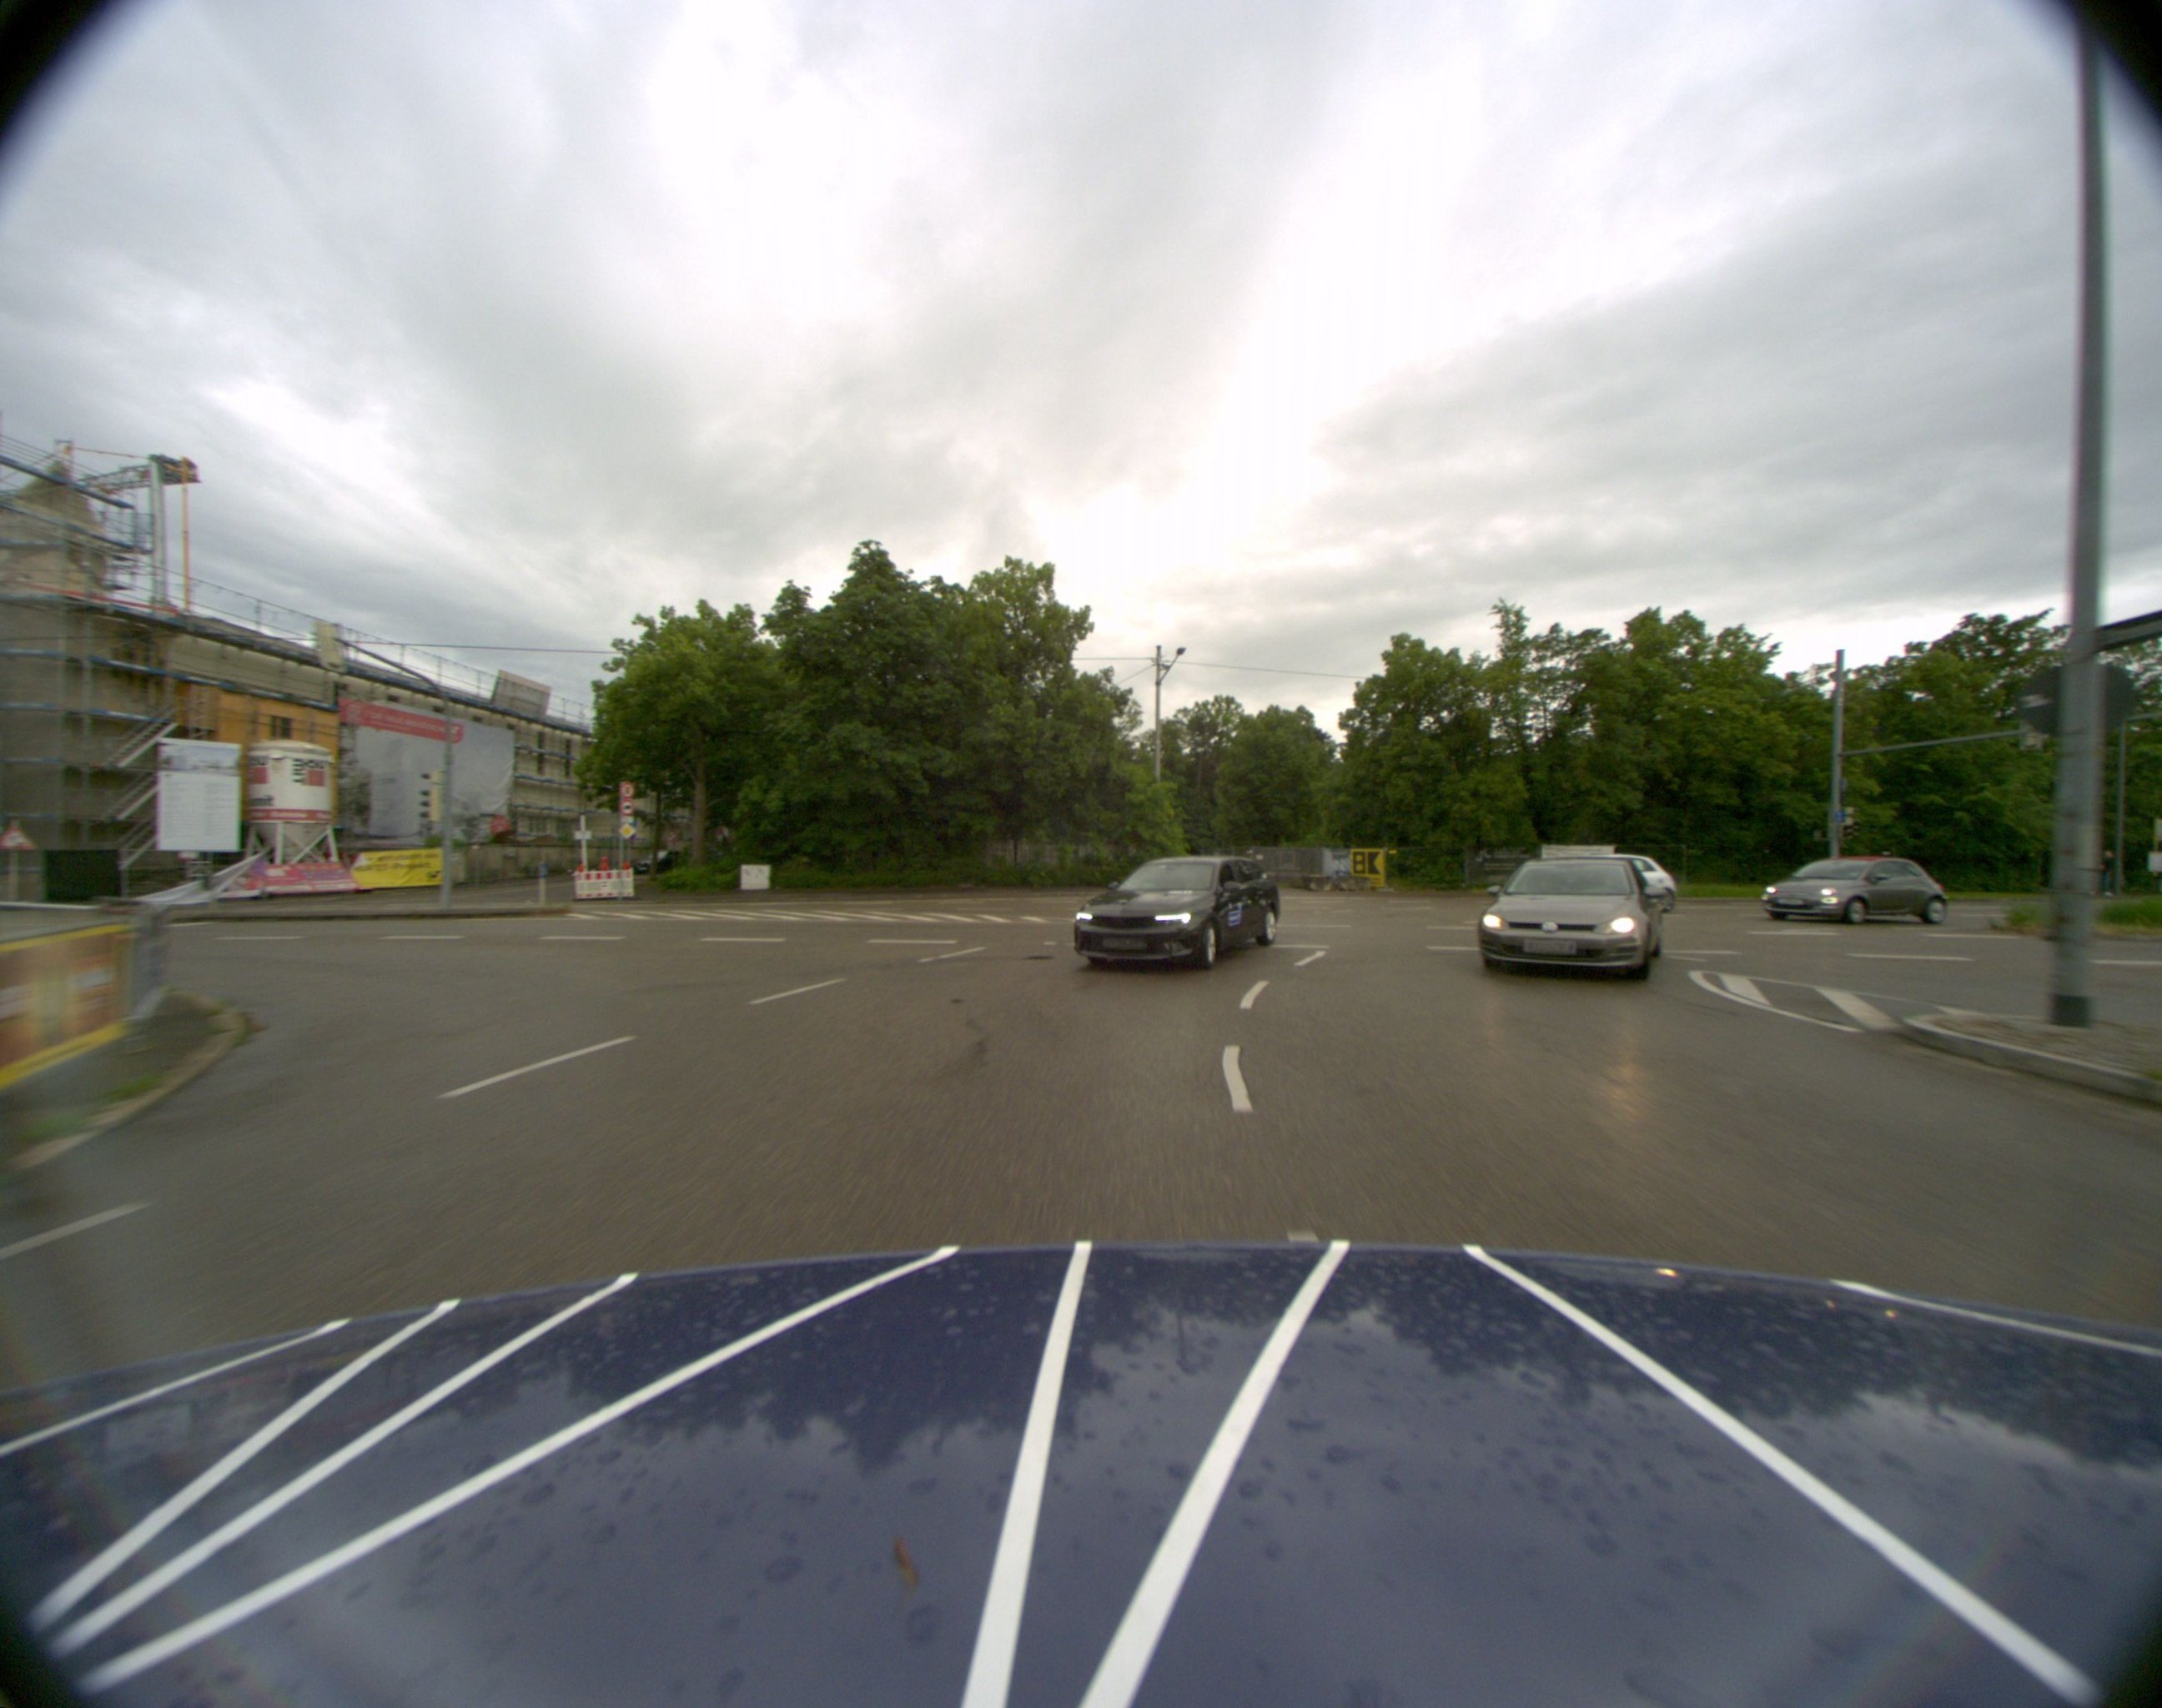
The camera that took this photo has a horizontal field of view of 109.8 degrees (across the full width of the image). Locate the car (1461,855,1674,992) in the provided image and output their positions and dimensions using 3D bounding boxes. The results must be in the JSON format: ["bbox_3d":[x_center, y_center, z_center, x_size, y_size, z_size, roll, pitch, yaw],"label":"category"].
[{"bbox_3d":[6.686,0.782,10.235,1.900,1.431,4.009,1,-1,40],"label":"car"}]

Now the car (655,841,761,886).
[{"bbox_3d":[-17.517,0.401,35.779,1.994,2.002,4.009,1,1,42],"label":"car"}]

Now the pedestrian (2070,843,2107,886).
[{"bbox_3d":[44.011,0.459,33.197,0.699,1.873,0.677,0,1,-3],"label":"pedestrian"}]

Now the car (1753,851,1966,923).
[{"bbox_3d":[17.775,0.698,17.419,3.658,1.521,1.669,0,1,-11],"label":"car"}]

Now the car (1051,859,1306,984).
[{"bbox_3d":[1.657,0.806,11.182,1.800,1.422,4.529,0,0,35],"label":"car"}]

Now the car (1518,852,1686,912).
[{"bbox_3d":[13.932,0.720,20.397,3.580,1.512,1.644,0,1,-11],"label":"car"}]
